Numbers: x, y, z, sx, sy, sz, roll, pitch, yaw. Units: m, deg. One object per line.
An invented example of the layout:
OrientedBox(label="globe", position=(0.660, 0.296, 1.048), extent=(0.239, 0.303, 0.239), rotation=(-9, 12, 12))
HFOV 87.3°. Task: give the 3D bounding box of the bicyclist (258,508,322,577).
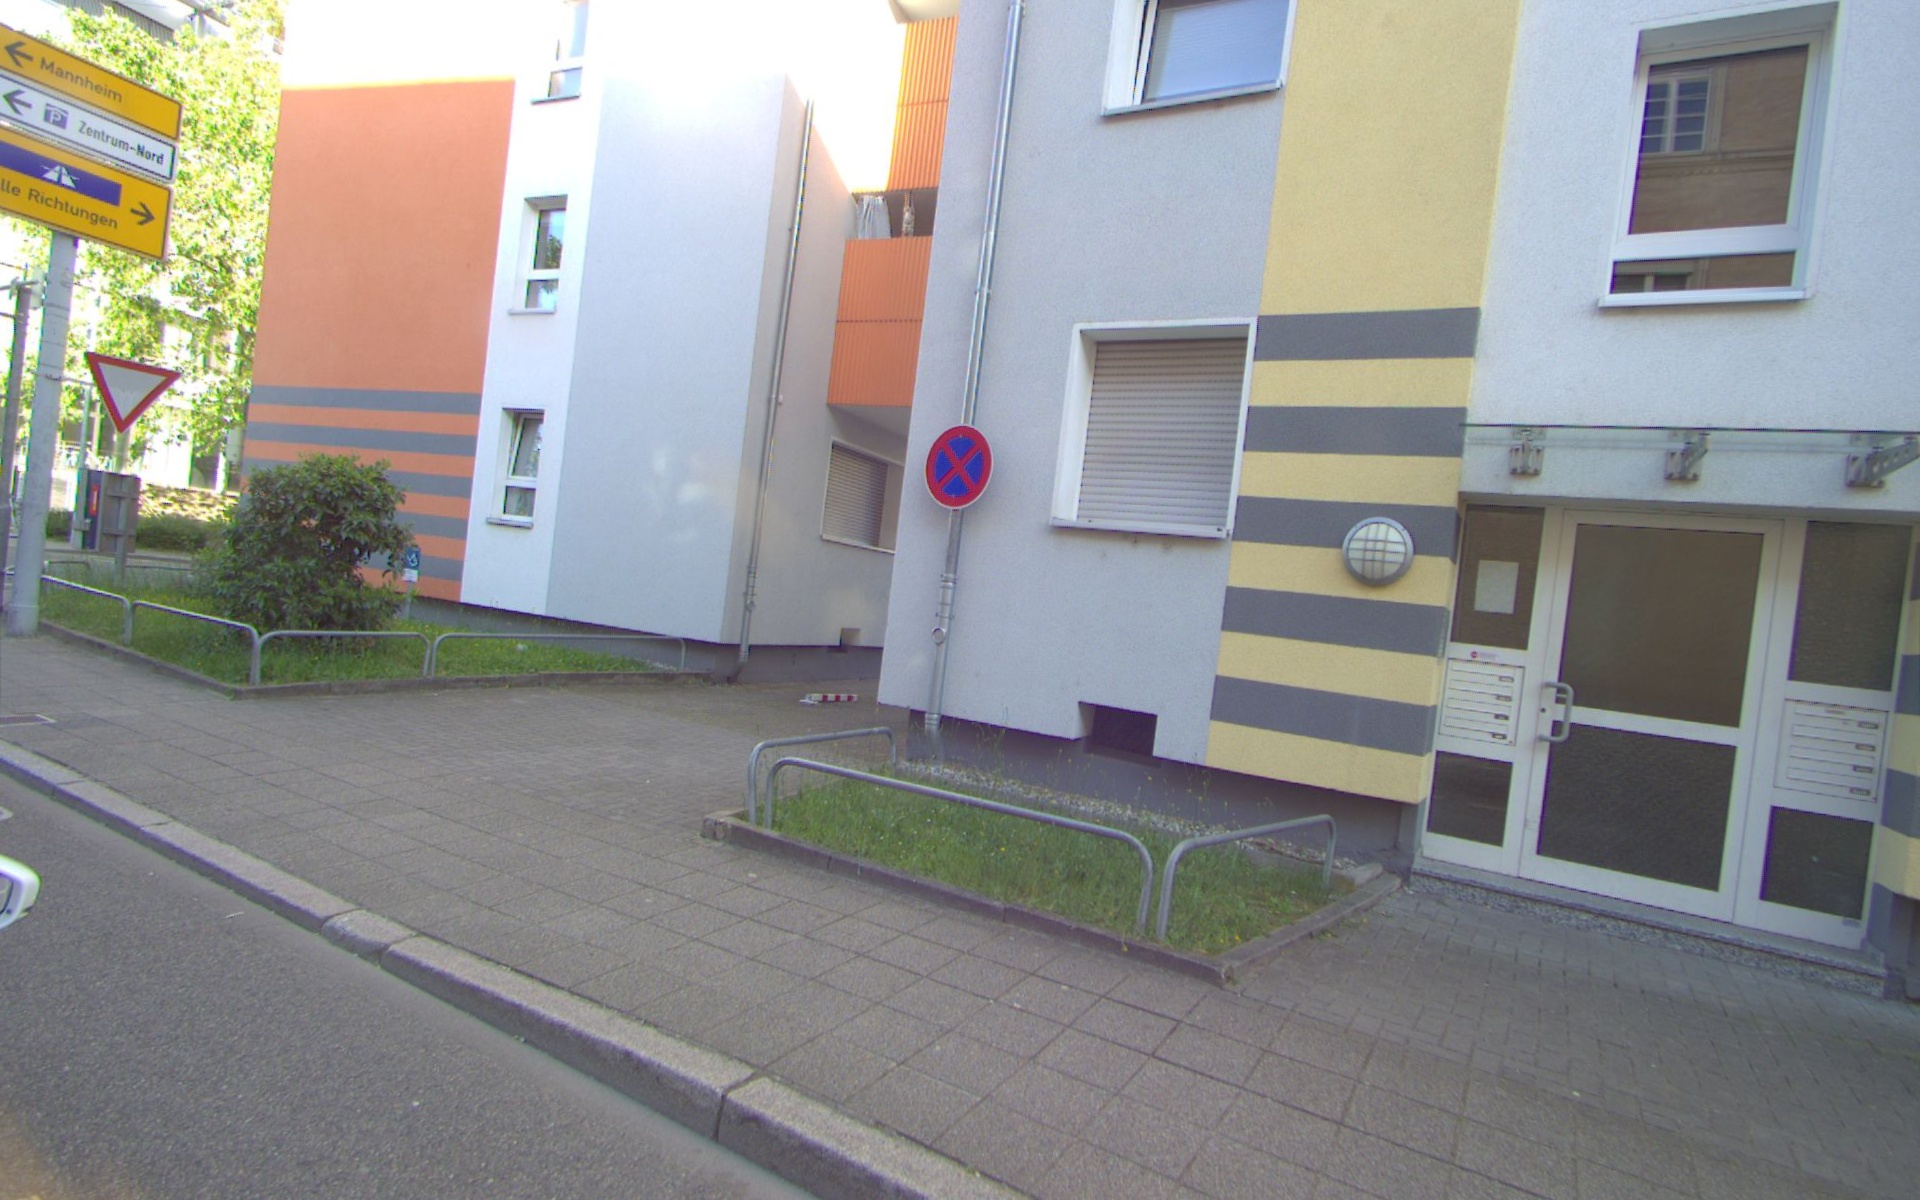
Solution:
OrientedBox(label="bicyclist", position=(-16.613, -1.417, 24.953), extent=(0.583, 1.546, 1.075), rotation=(8, 1, 37))

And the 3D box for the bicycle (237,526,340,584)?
OrientedBox(label="bicycle", position=(-16.640, -1.098, 24.961), extent=(0.583, 1.166, 1.963), rotation=(7, 0, 37))

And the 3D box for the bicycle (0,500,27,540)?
OrientedBox(label="bicycle", position=(-26.400, -2.249, 27.389), extent=(1.409, 1.021, 0.379), rotation=(7, 1, -11))
